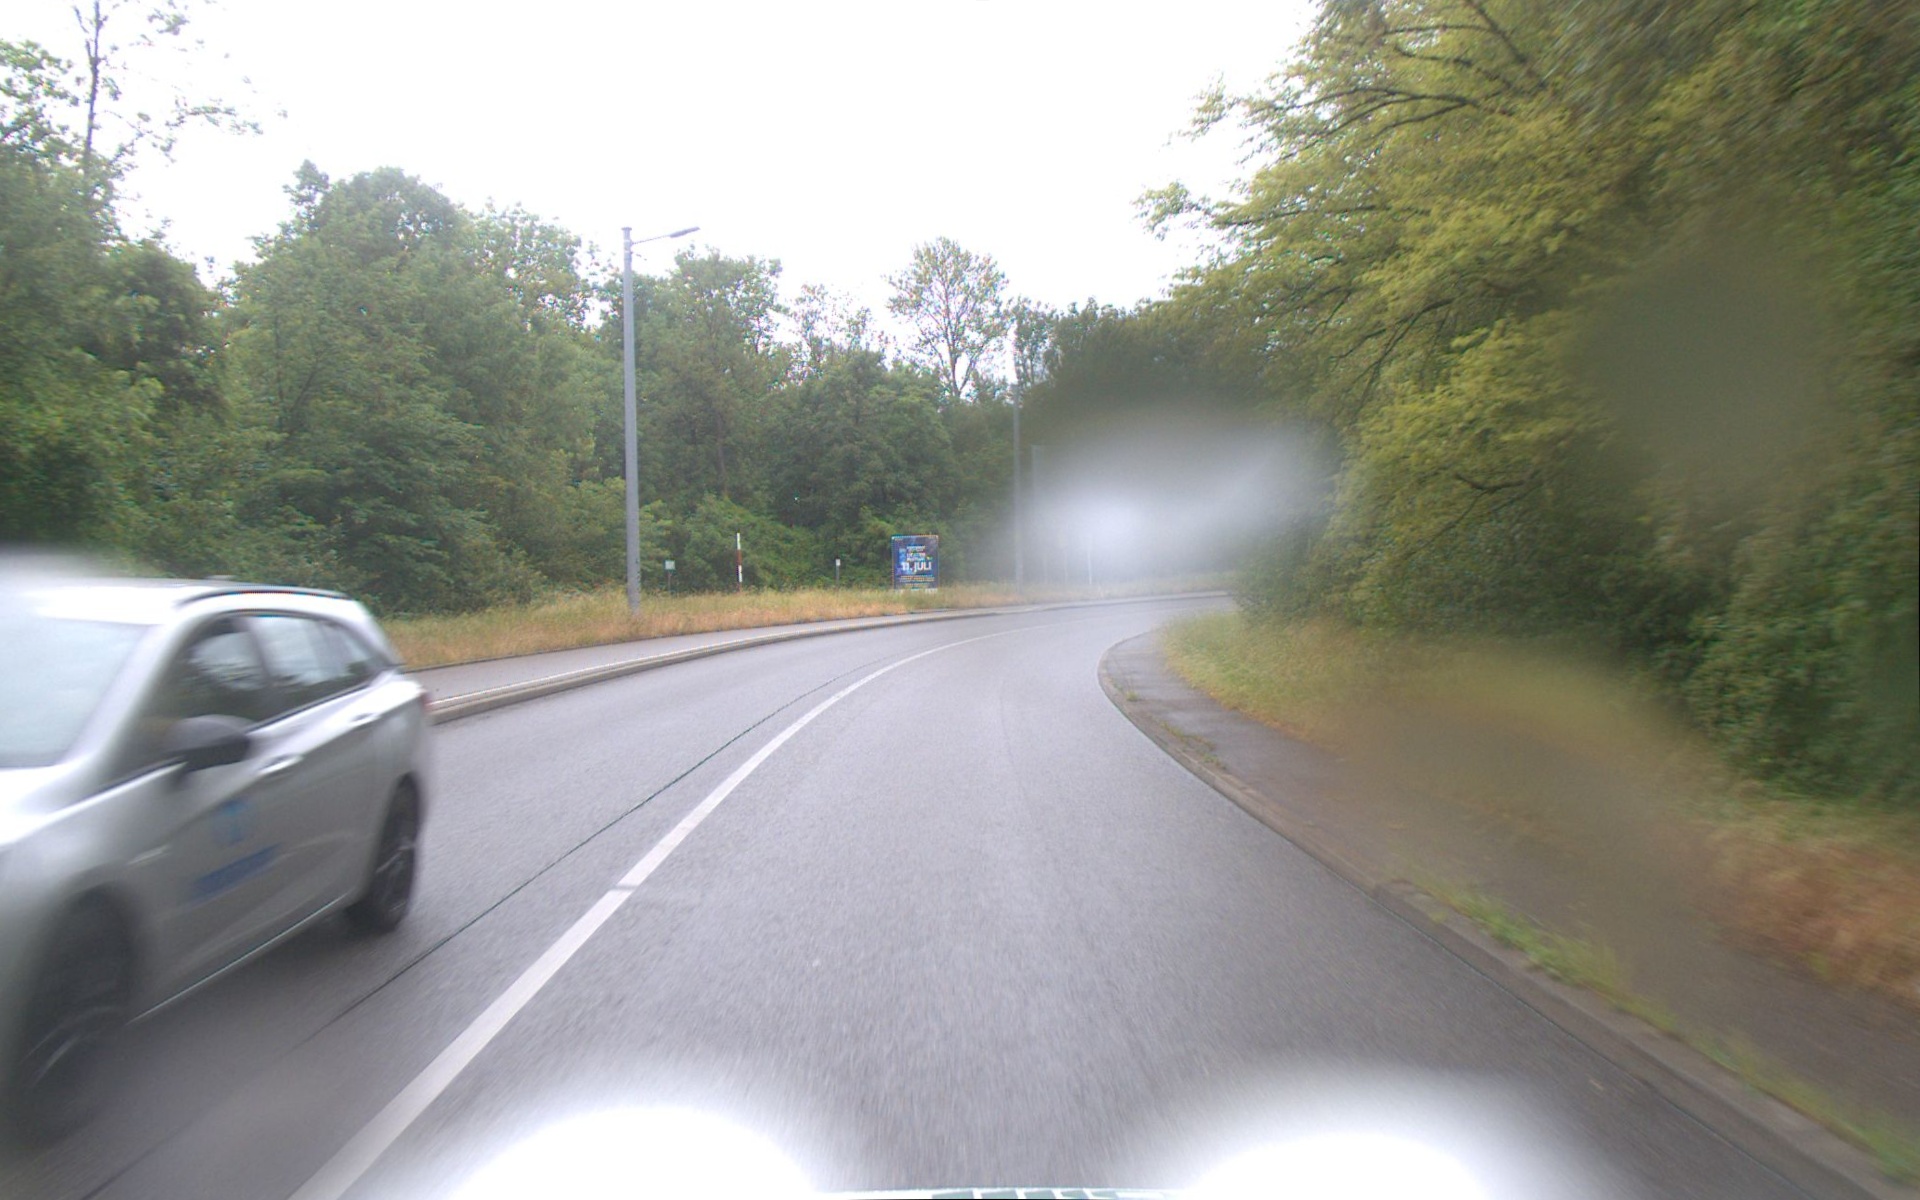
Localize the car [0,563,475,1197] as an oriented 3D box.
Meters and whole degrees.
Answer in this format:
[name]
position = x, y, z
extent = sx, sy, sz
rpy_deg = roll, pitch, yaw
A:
[car]
position = -3.171, 0.631, 5.639
extent = 1.744, 1.455, 4.474
rpy_deg = 2, 1, -1
